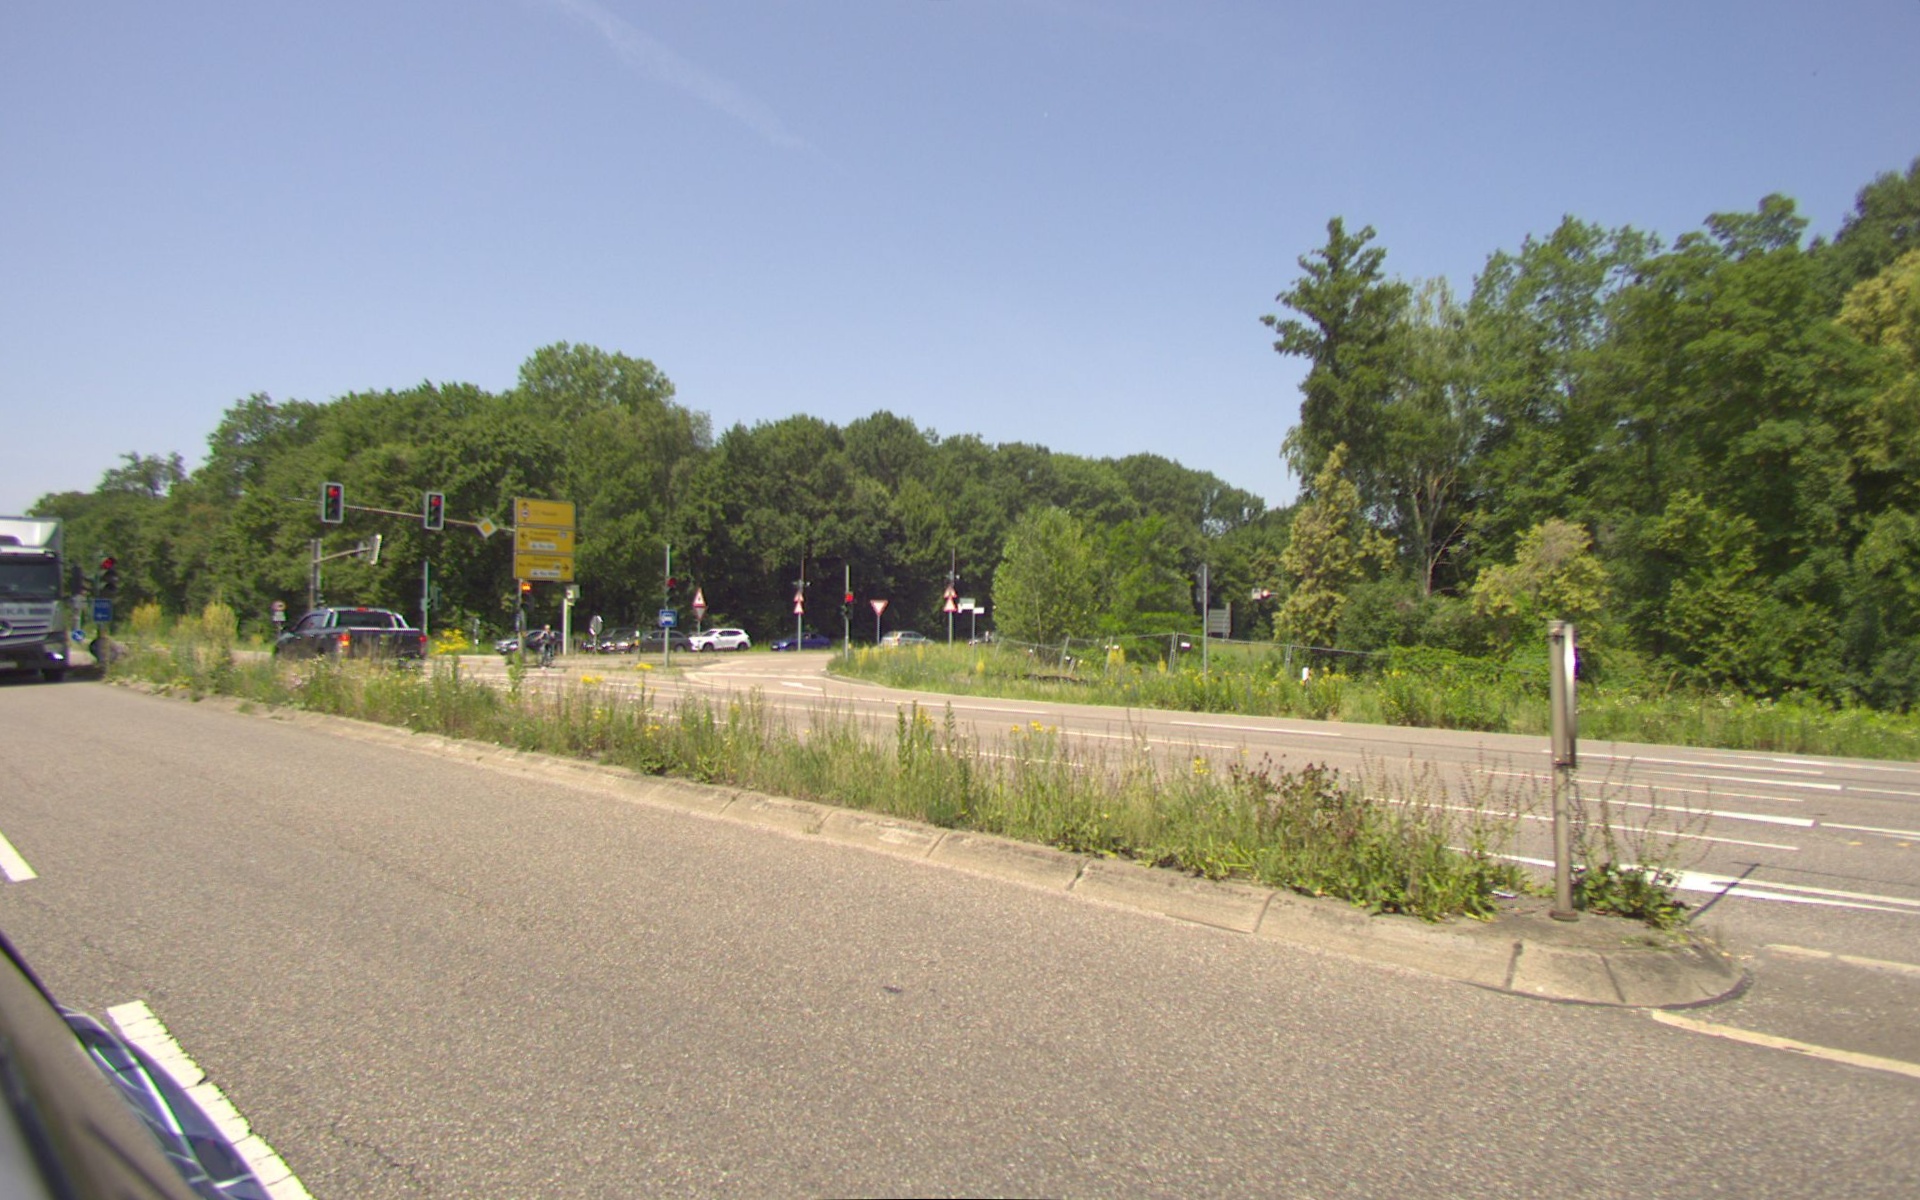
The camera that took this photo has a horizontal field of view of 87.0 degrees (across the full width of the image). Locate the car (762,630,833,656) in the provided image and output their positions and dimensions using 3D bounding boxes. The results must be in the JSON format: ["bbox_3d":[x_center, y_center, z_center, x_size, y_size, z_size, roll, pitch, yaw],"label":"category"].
[{"bbox_3d":[-11.381,3.041,71.183,1.999,1.770,4.756,-1,-3,40],"label":"car"}]

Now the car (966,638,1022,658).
[{"bbox_3d":[2.920,4.048,85.447,4.749,1.648,2.001,3,-3,-45],"label":"car"}]

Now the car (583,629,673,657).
[{"bbox_3d":[-20.077,2.616,61.346,4.749,1.648,2.001,3,-3,-45],"label":"car"}]

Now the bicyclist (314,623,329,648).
[{"bbox_3d":[-37.972,2.107,60.169,0.651,1.476,0.811,2,-3,-39],"label":"bicyclist"}]

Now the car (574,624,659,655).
[{"bbox_3d":[-22.001,2.515,64.961,1.999,1.913,4.754,-1,-3,41],"label":"car"}]

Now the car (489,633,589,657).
[{"bbox_3d":[-23.728,2.521,57.162,2.105,1.300,4.753,-1,-3,42],"label":"car"}]

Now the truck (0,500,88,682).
[{"bbox_3d":[-24.807,-0.111,25.485,11.314,3.914,2.718,-1,-1,41],"label":"truck"}]

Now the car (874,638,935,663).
[{"bbox_3d":[-3.483,3.210,64.454,1.767,1.402,3.965,-1,-1,36],"label":"car"}]

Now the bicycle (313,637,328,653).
[{"bbox_3d":[-37.999,2.657,60.158,0.558,0.930,1.608,2,-3,-38],"label":"bicycle"}]

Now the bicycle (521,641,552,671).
[{"bbox_3d":[-16.134,2.125,38.580,0.712,1.071,1.873,1,-2,-11],"label":"bicycle"}]

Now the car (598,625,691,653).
[{"bbox_3d":[-17.927,2.213,57.678,1.860,1.530,4.756,-1,-3,40],"label":"car"}]

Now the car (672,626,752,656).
[{"bbox_3d":[-16.114,2.672,65.965,2.066,1.910,4.752,-1,-3,42],"label":"car"}]

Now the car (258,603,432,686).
[{"bbox_3d":[-14.222,0.992,23.253,5.365,1.691,1.972,-1,-4,43],"label":"car"}]

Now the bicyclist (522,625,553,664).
[{"bbox_3d":[-16.144,1.687,38.676,0.911,1.471,0.718,1,-2,-10],"label":"bicyclist"}]
